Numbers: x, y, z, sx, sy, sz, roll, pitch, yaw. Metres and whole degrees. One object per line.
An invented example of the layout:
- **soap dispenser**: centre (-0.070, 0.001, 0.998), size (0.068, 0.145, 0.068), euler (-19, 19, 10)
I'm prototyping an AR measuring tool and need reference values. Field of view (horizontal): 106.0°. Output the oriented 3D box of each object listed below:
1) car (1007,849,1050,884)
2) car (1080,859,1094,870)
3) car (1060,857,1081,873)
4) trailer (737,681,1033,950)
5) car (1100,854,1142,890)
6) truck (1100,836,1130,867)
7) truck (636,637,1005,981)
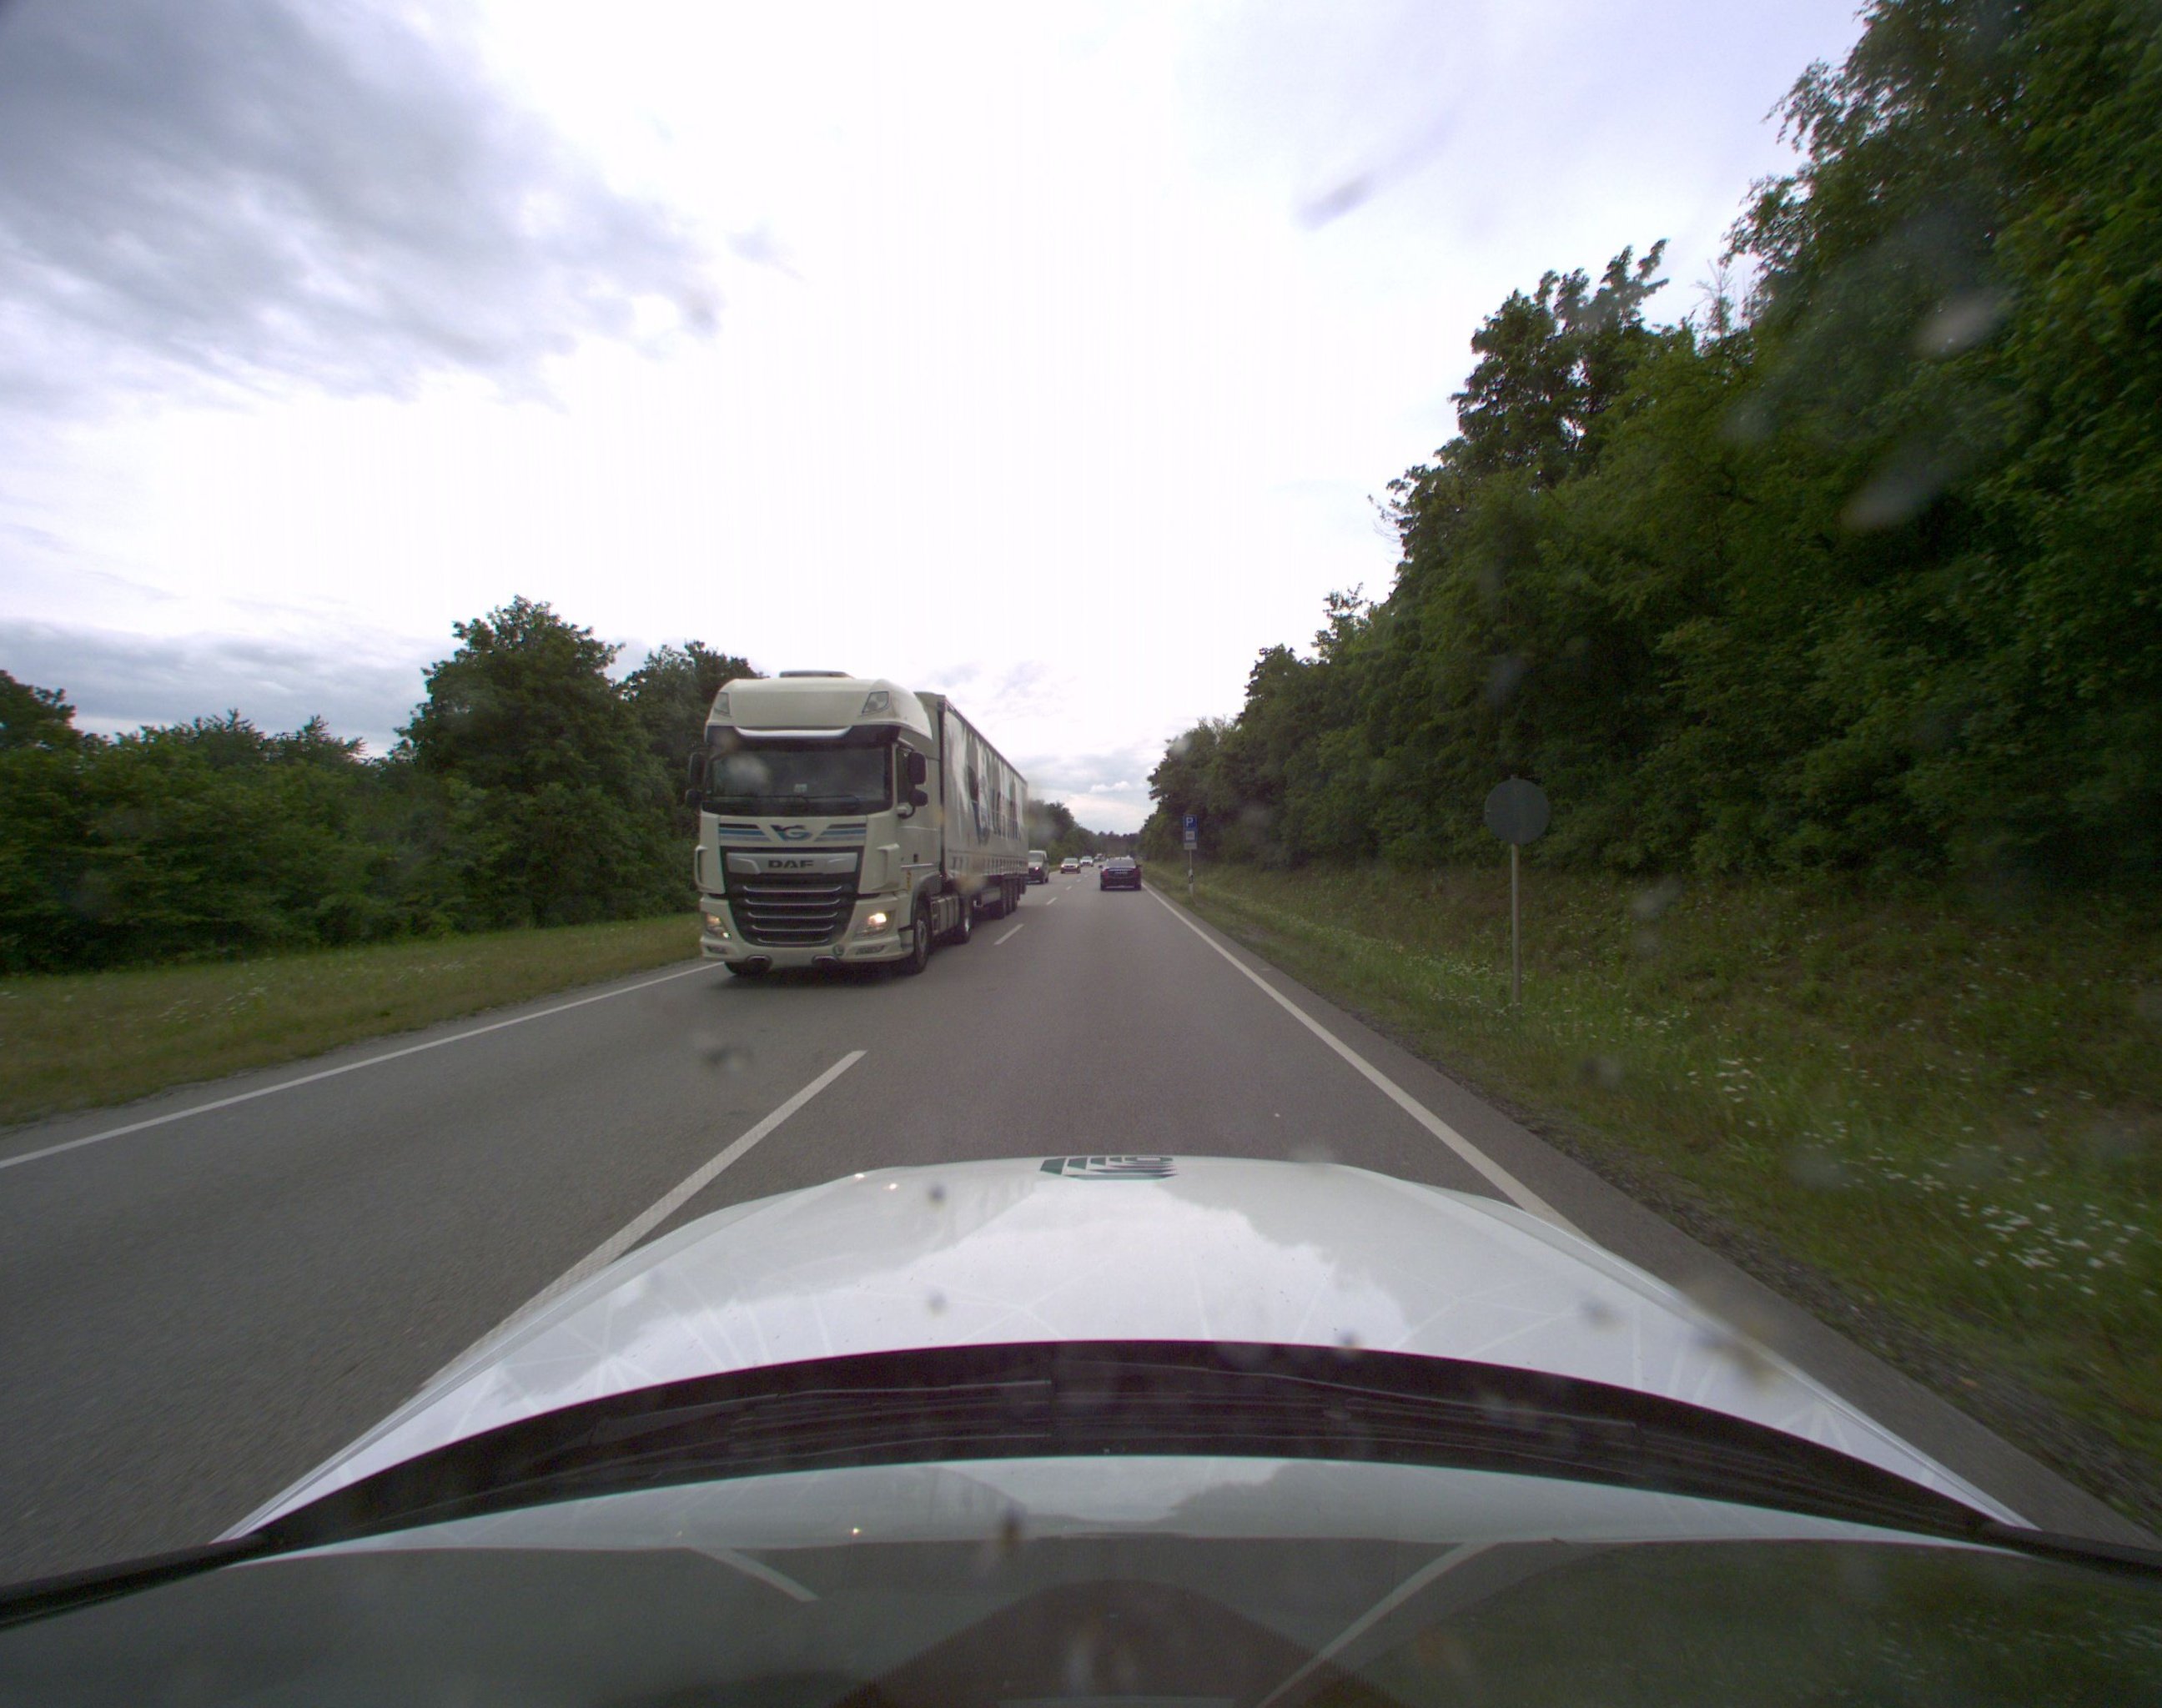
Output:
- **car**: centre (-3.026, 0.716, 48.451), size (1.986, 1.940, 5.814), euler (0, 0, 2)
- **car**: centre (0.932, 1.597, 122.498), size (1.956, 1.574, 5.455), euler (0, 0, 2)
- **car**: centre (-0.978, 0.999, 76.895), size (1.719, 1.434, 4.505), euler (0, 0, 2)
- **trailer**: centre (-3.402, -0.535, 19.483), size (3.191, 4.067, 14.277), euler (0, 0, 2)
- **car**: centre (1.775, 0.780, 37.329), size (1.785, 1.552, 4.000), euler (0, 0, 1)
- **truck**: centre (4.385, -0.284, 102.277), size (3.266, 3.611, 11.414), euler (0, 0, 5)
- **truck**: centre (-3.557, -0.505, 14.463), size (3.178, 4.062, 9.579), euler (0, 0, 2)
